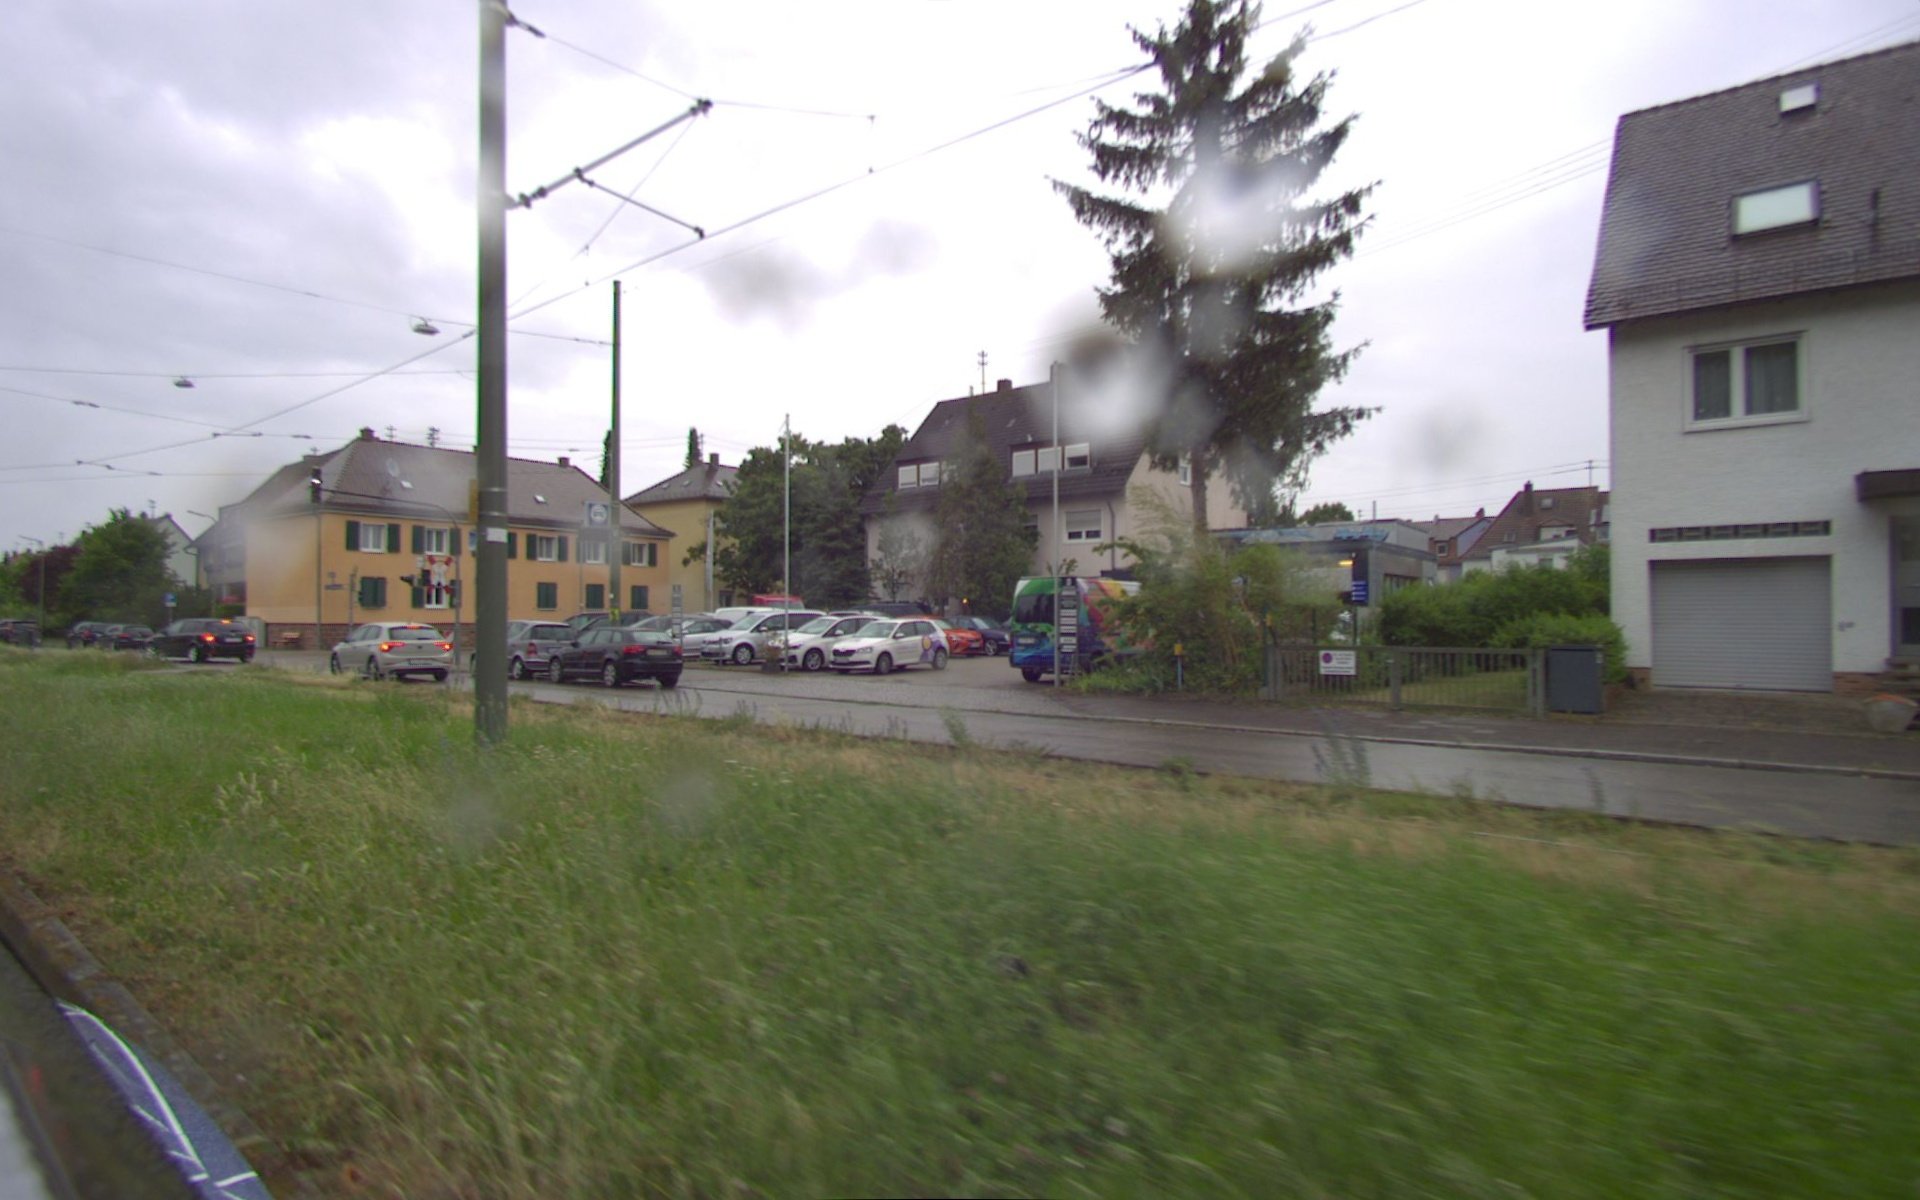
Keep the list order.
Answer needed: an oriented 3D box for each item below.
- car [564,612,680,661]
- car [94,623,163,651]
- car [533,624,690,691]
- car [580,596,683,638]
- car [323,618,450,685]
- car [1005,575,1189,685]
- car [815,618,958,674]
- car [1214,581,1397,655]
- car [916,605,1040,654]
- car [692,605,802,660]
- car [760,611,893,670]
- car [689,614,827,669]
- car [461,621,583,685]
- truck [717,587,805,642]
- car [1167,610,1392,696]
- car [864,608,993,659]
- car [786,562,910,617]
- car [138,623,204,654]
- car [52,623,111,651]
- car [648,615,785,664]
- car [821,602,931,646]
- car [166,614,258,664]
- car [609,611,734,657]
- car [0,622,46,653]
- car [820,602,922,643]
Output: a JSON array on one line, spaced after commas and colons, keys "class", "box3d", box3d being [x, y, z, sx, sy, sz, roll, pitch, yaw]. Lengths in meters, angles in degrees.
[{"class": "car", "box3d": [-12.471, 1.326, 37.478, 3.931, 1.730, 2.006, 0, -2, -18]}, {"class": "car", "box3d": [-44.492, 1.949, 54.128, 4.499, 1.406, 1.942, -1, -2, 38]}, {"class": "car", "box3d": [-8.583, 1.338, 24.709, 4.388, 1.349, 1.699, 2, 0, 42]}, {"class": "car", "box3d": [-12.976, 0.690, 40.094, 3.805, 1.591, 1.813, 0, -2, -18]}, {"class": "car", "box3d": [-14.443, 1.241, 25.422, 3.818, 1.434, 1.584, 2, 0, 41]}, {"class": "car", "box3d": [3.505, 0.681, 25.054, 2.150, 2.424, 5.081, 1, 0, 39]}, {"class": "car", "box3d": [-1.996, 1.238, 28.168, 1.723, 1.406, 3.787, 1, 0, 43]}, {"class": "car", "box3d": [8.728, 0.496, 25.708, 3.891, 1.577, 1.973, -5, -4, 40]}, {"class": "car", "box3d": [0.616, 1.118, 37.633, 4.446, 1.700, 1.972, -2, -3, 42]}, {"class": "car", "box3d": [-8.329, 1.270, 39.371, 4.446, 2.029, 1.972, -2, -3, 42]}, {"class": "car", "box3d": [-3.882, 1.159, 29.794, 1.723, 1.585, 3.565, 1, 0, 43]}, {"class": "car", "box3d": [-6.244, 1.266, 31.474, 3.810, 1.591, 1.811, 1, -2, -39]}, {"class": "car", "box3d": [-12.001, 1.385, 27.653, 3.643, 1.515, 1.699, 1, 0, 42]}, {"class": "truck", "box3d": [-9.019, 0.717, 45.415, 1.966, 2.289, 6.121, 2, -2, -30]}, {"class": "car", "box3d": [6.515, 1.111, 20.830, 3.891, 1.577, 1.973, -5, -4, 40]}, {"class": "car", "box3d": [-1.162, 1.194, 35.925, 4.446, 1.700, 1.972, -2, -3, 42]}, {"class": "car", "box3d": [-3.903, -0.318, 34.829, 4.446, 1.700, 1.736, -2, -3, 42]}, {"class": "car", "box3d": [-38.745, 1.862, 49.663, 3.612, 1.349, 1.701, 2, 0, 38]}, {"class": "car", "box3d": [-49.619, 2.065, 57.165, 3.994, 1.342, 1.738, 2, 0, 37]}, {"class": "car", "box3d": [-8.078, 1.295, 33.665, 3.990, 1.515, 1.839, 2, 0, -33]}, {"class": "car", "box3d": [-3.459, 1.008, 41.076, 4.446, 1.700, 1.972, -2, -3, 42]}, {"class": "car", "box3d": [-25.758, 1.308, 34.803, 3.999, 1.497, 1.718, 2, 0, 42]}, {"class": "car", "box3d": [-10.121, 1.191, 35.448, 3.988, 1.515, 1.840, 2, 0, -22]}, {"class": "car", "box3d": [-60.801, 2.375, 65.156, 3.988, 1.807, 1.978, 2, 0, 33]}, {"class": "car", "box3d": [-3.963, 1.014, 44.567, 4.446, 1.700, 1.972, -2, -3, 42]}]
